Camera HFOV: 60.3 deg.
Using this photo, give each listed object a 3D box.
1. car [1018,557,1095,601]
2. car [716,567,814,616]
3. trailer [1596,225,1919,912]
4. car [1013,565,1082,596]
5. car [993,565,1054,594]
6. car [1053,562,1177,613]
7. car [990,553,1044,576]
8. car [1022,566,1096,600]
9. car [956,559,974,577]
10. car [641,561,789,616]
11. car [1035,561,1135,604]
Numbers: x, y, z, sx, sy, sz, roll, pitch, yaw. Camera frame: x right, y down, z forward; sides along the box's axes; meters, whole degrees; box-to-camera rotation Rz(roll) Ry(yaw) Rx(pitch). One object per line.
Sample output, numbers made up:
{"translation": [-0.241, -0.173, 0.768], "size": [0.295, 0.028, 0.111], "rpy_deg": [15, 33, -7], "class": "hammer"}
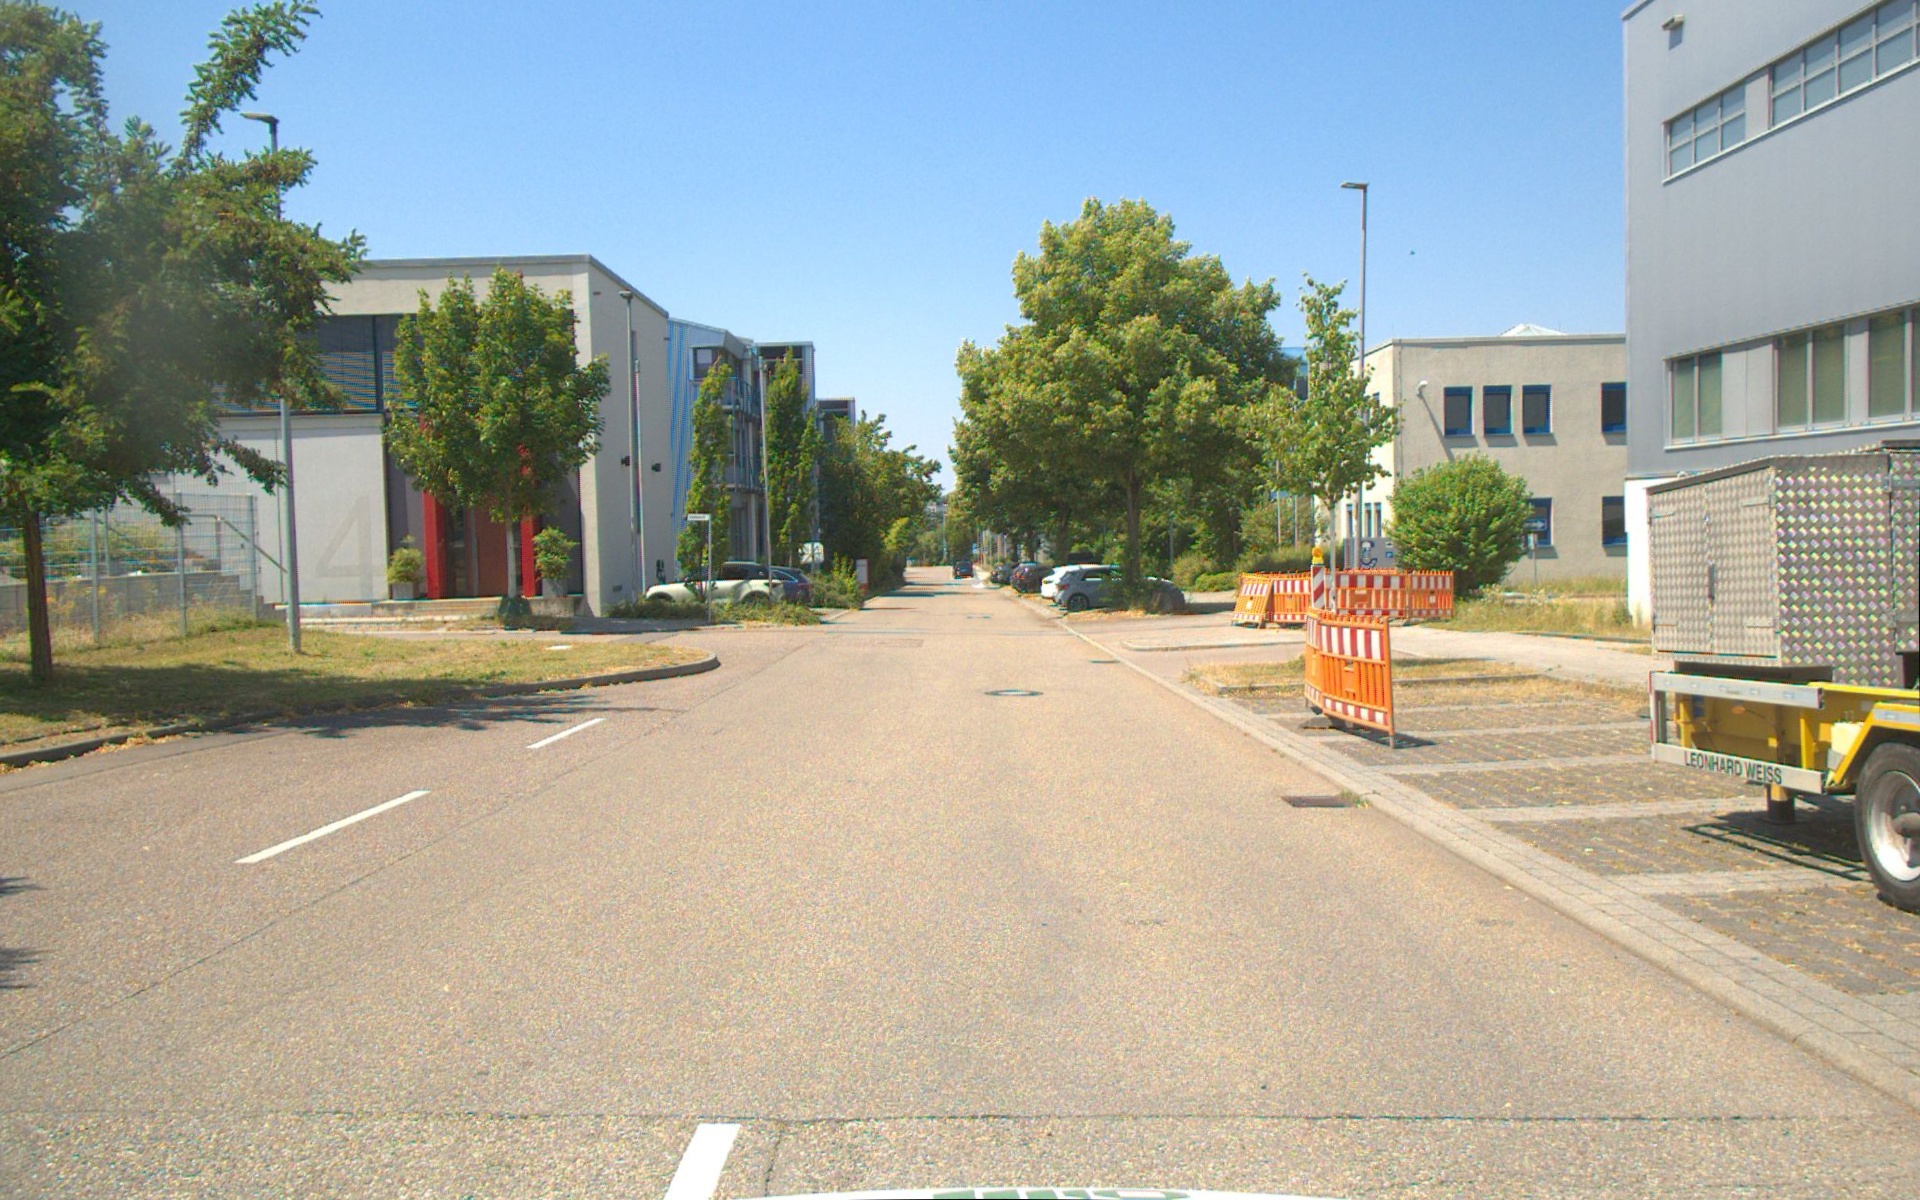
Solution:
{"translation": [4.695, -1.027, 80.745], "size": [3.646, 2.147, 1.814], "rpy_deg": [0, 1, -1], "class": "car"}
{"translation": [-6.094, -0.280, 51.731], "size": [2.999, 1.504, 1.291], "rpy_deg": [0, 1, -7], "class": "car"}
{"translation": [5.342, -0.181, 7.229], "size": [2.604, 2.906, 5.516], "rpy_deg": [-3, 1, -4], "class": "trailer"}
{"translation": [4.728, -1.065, 89.648], "size": [3.646, 1.655, 1.814], "rpy_deg": [0, 1, -1], "class": "car"}
{"translation": [4.254, -1.390, 111.583], "size": [3.858, 1.866, 1.765], "rpy_deg": [-1, 4, -8], "class": "car"}
{"translation": [4.872, -0.400, 52.159], "size": [3.608, 1.378, 1.644], "rpy_deg": [-3, 1, -5], "class": "car"}
{"translation": [4.246, -2.638, 123.828], "size": [3.858, 1.604, 1.765], "rpy_deg": [-1, 4, -8], "class": "car"}
{"translation": [5.011, -0.872, 84.216], "size": [3.646, 1.655, 1.814], "rpy_deg": [0, 1, -1], "class": "car"}
{"translation": [0.505, -3.150, 162.839], "size": [1.725, 1.786, 3.945], "rpy_deg": [0, 1, 0], "class": "car"}
{"translation": [-6.890, -0.335, 46.776], "size": [3.965, 1.521, 1.728], "rpy_deg": [0, 1, -3], "class": "car"}
{"translation": [4.656, -0.674, 61.793], "size": [3.448, 1.378, 1.536], "rpy_deg": [-3, 1, -5], "class": "car"}
